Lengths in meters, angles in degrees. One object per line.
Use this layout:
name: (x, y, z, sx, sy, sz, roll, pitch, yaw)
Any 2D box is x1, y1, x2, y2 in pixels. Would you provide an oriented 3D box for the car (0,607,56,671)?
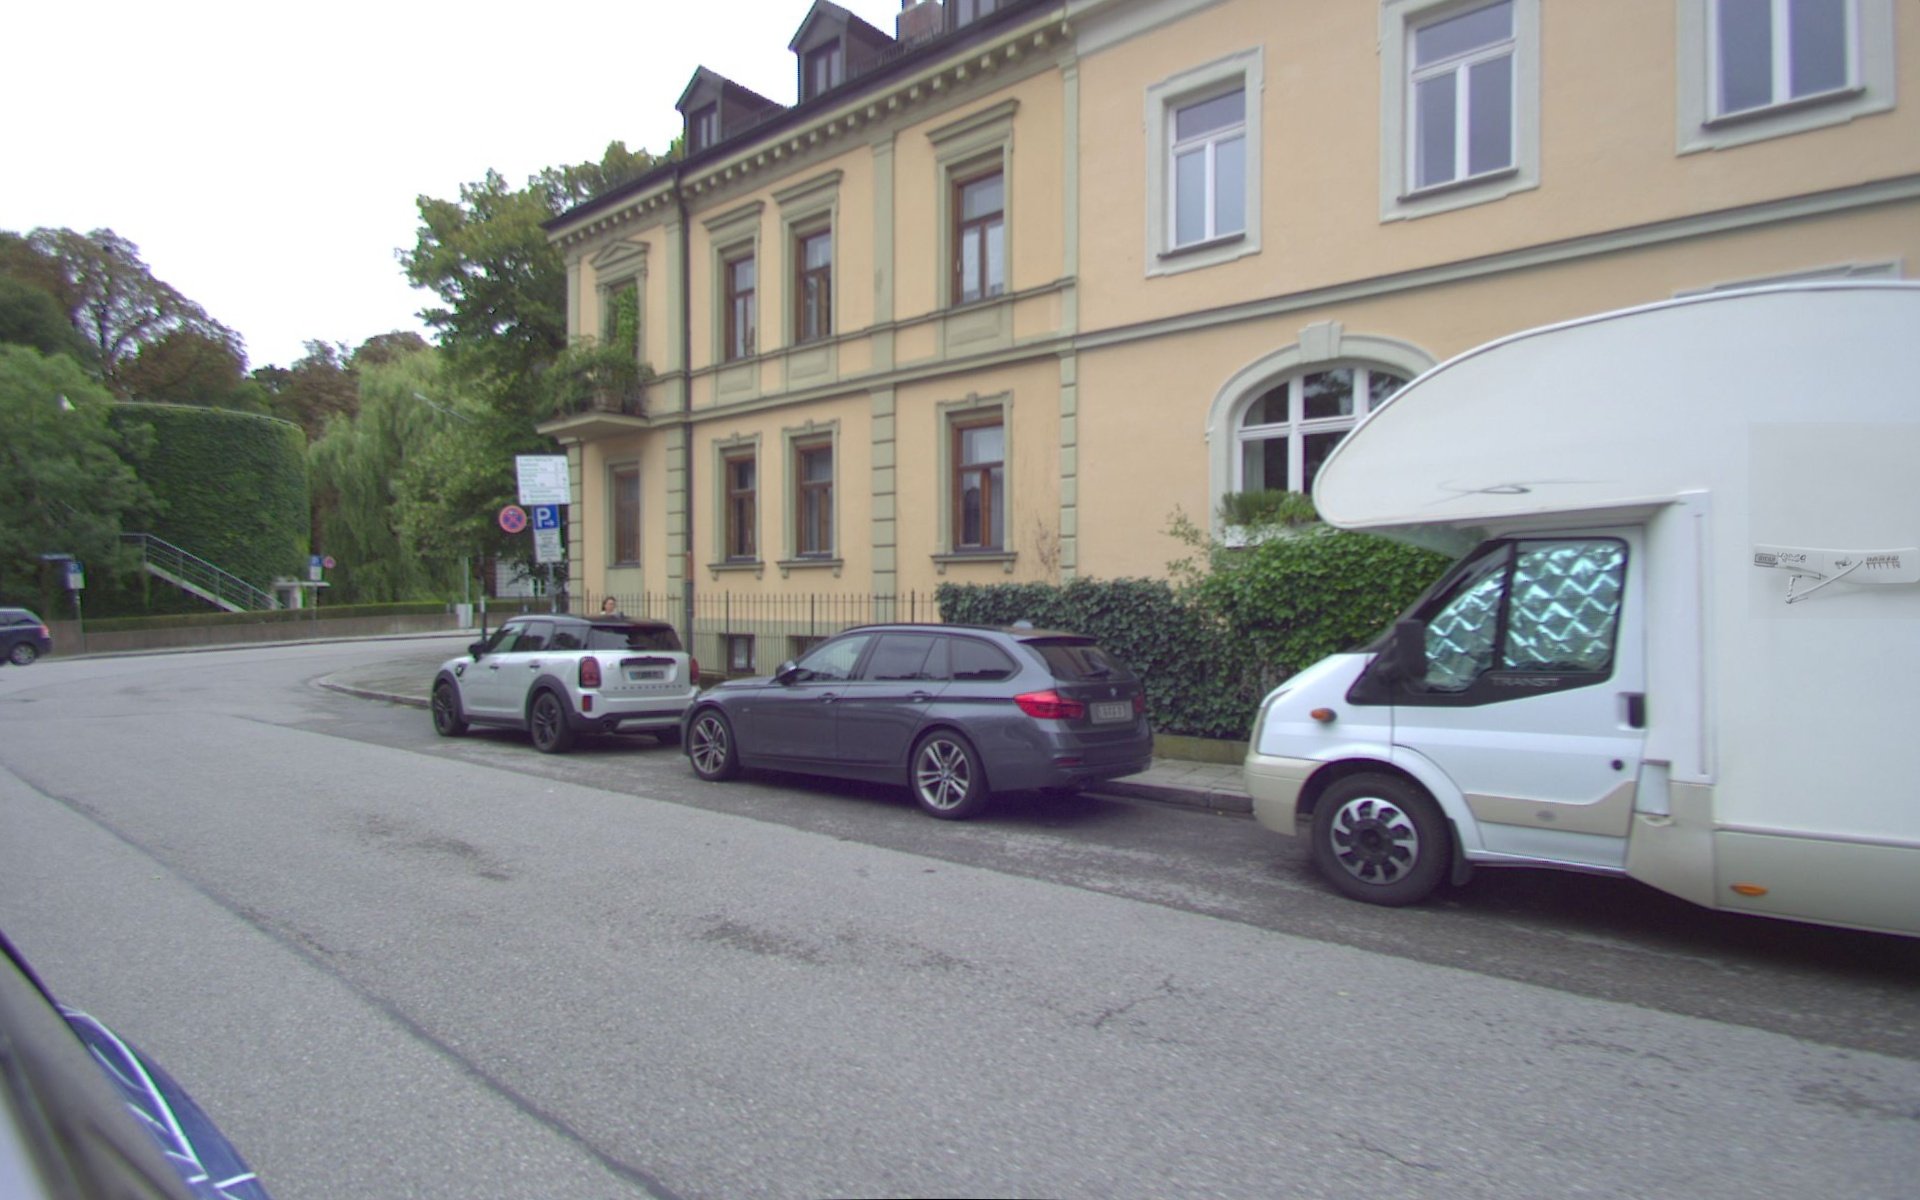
car: (-28.020, 1.186, 27.786, 1.989, 1.705, 4.298, -5, -1, 25)

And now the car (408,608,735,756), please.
car: (-5.016, 0.917, 12.770, 4.528, 1.547, 1.916, -1, -3, 41)

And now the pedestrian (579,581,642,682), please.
pedestrian: (-5.764, 0.508, 16.699, 0.739, 1.615, 0.647, -1, 1, 39)

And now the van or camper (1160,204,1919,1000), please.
van or camper: (4.659, 0.022, 4.425, 7.208, 2.963, 2.429, -1, -2, 41)

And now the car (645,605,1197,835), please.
car: (-0.547, 0.852, 8.968, 4.816, 1.520, 1.917, -1, -3, 39)
